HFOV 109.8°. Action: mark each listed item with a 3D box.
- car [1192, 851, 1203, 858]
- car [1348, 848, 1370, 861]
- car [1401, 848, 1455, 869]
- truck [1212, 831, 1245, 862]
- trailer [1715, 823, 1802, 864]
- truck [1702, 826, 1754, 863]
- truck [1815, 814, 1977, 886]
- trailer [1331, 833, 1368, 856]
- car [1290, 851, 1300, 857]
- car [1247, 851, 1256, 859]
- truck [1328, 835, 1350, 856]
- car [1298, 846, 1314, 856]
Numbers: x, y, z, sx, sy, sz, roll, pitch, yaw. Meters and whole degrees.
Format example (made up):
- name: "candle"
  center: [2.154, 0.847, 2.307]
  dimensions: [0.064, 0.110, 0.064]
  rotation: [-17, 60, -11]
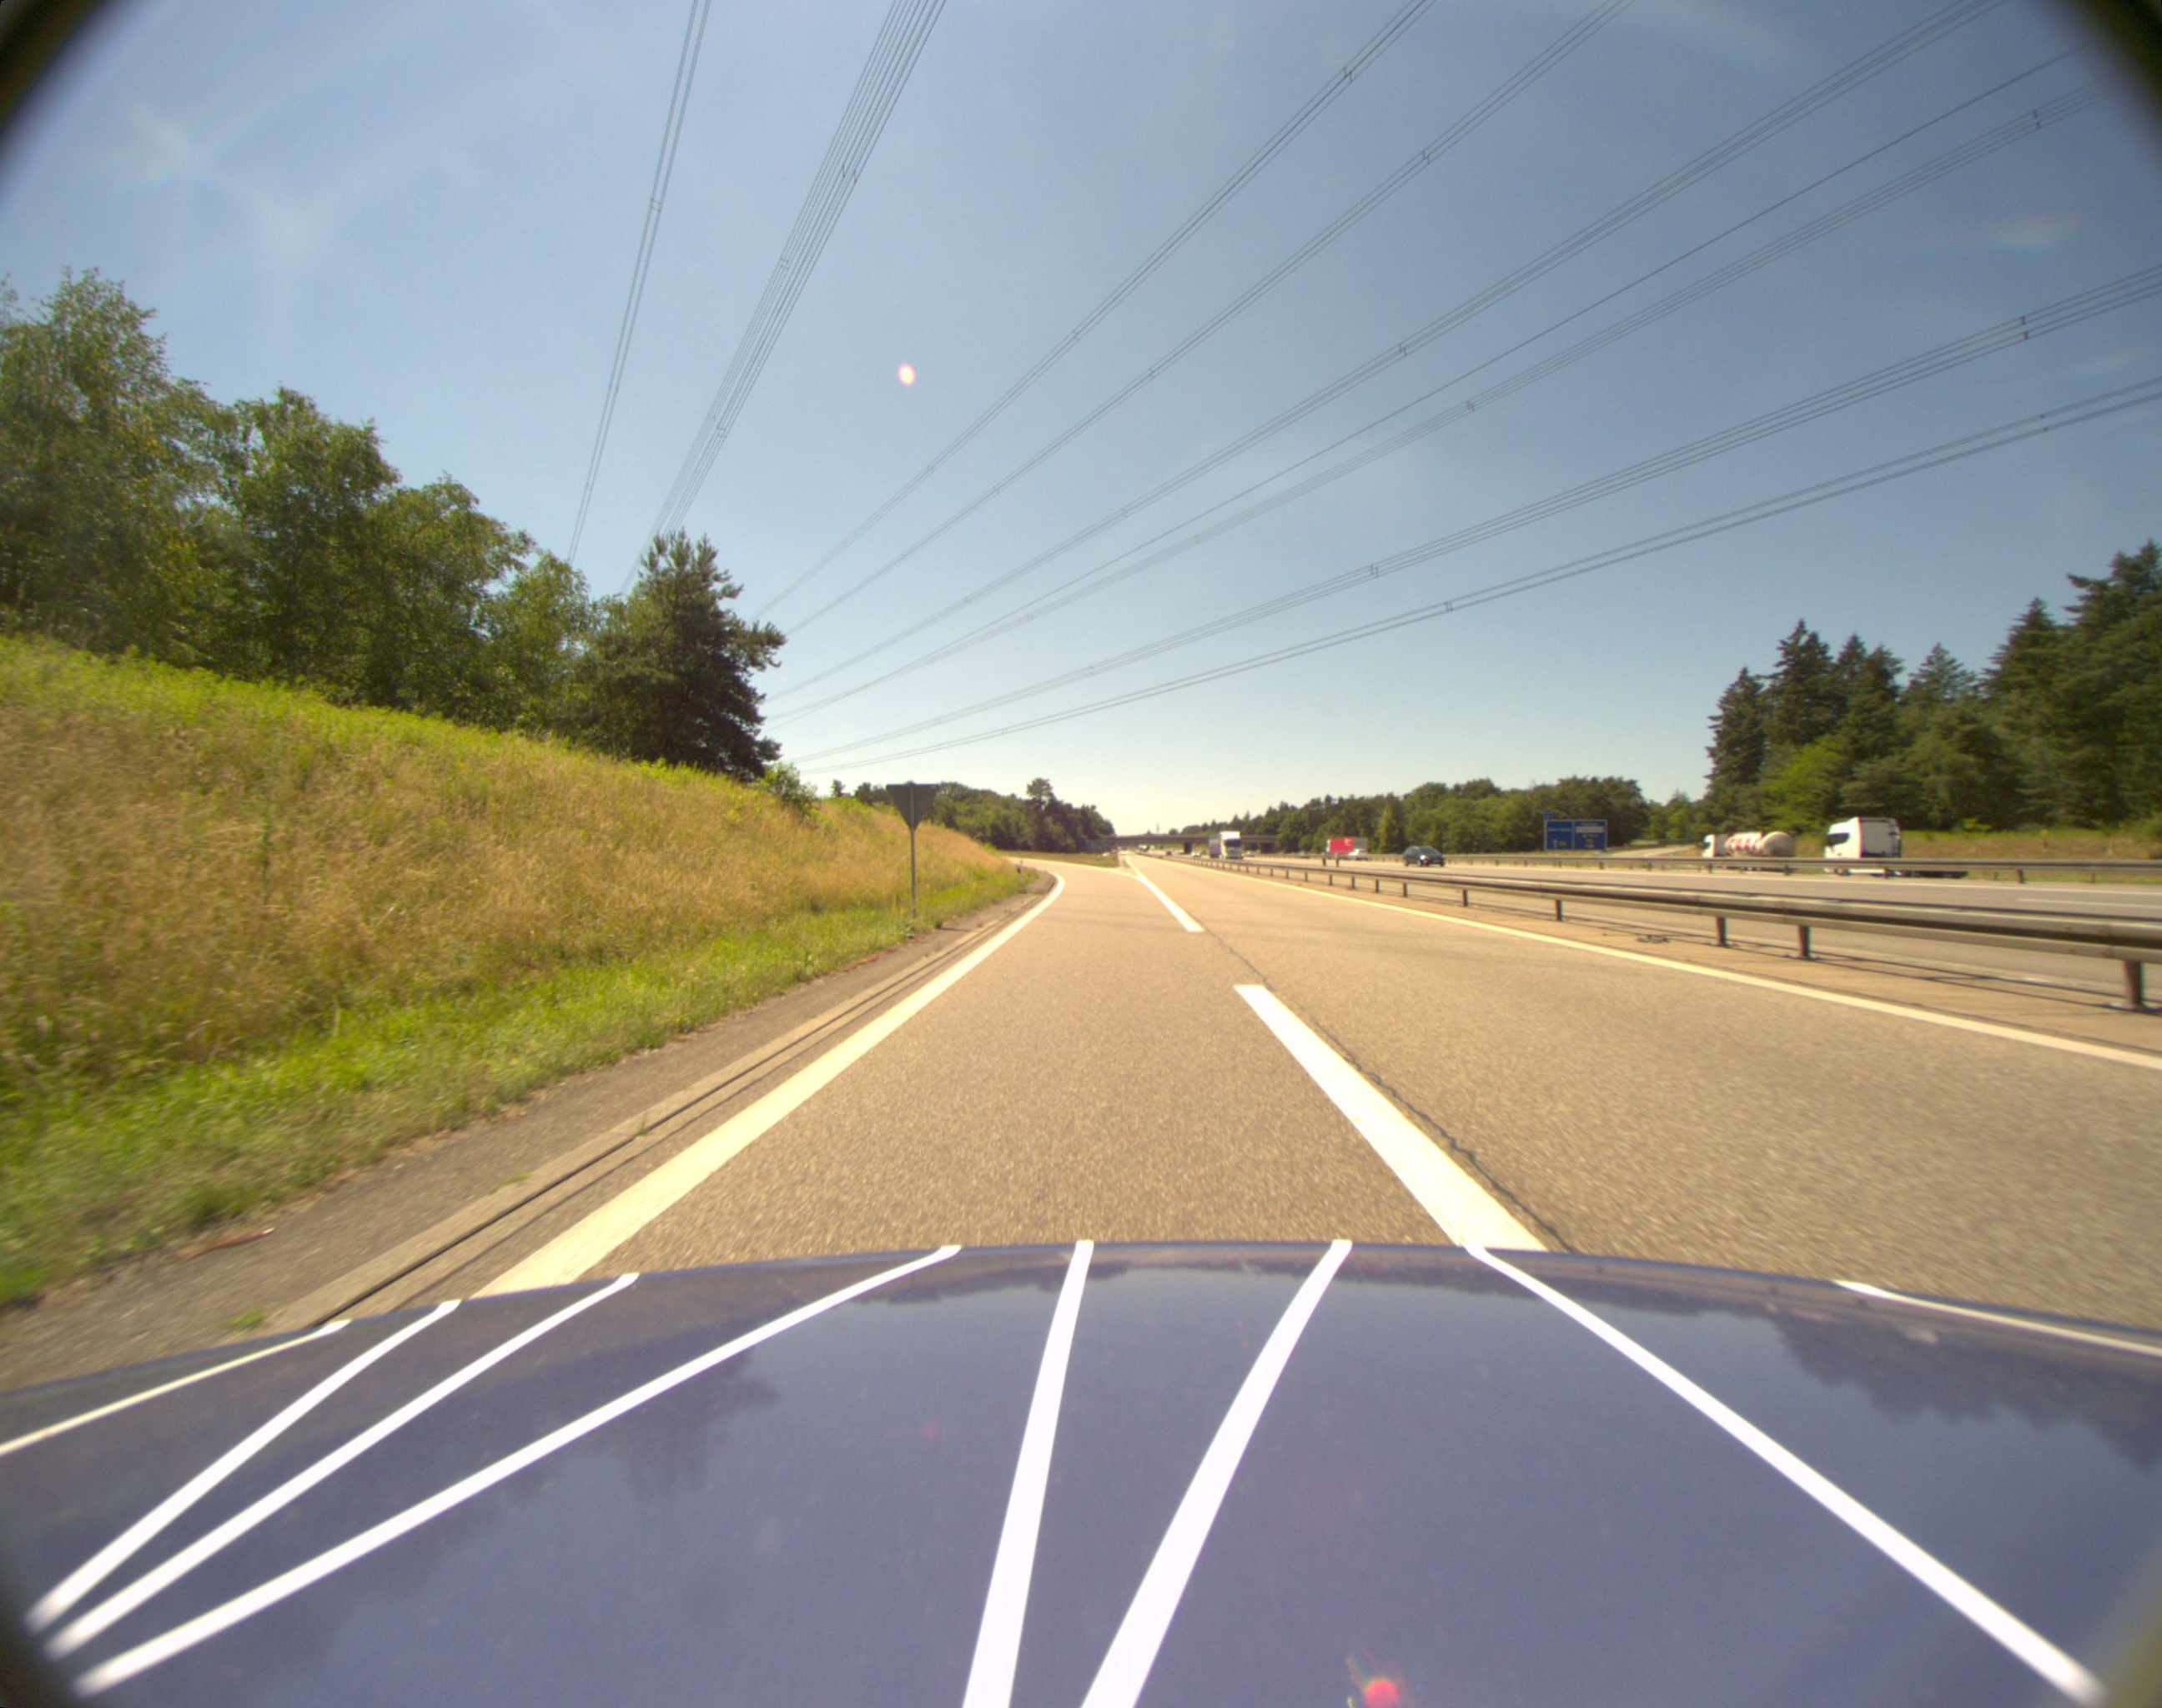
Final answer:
- name: "car"
  center: [29.727, 0.120, 194.111]
  dimensions: [1.998, 1.559, 4.000]
  rotation: [-1, 0, 0]
- name: "car"
  center: [41.912, 0.069, 114.576]
  dimensions: [1.776, 1.674, 4.824]
  rotation: [-1, 2, 3]
- name: "car"
  center: [25.404, 0.292, 55.765]
  dimensions: [1.998, 1.467, 4.242]
  rotation: [-1, 1, 1]
- name: "truck"
  center: [20.265, -1.036, 104.974]
  dimensions: [2.709, 4.034, 11.049]
  rotation: [-1, 0, 2]
- name: "trailer"
  center: [65.836, -0.953, 74.144]
  dimensions: [2.776, 3.775, 8.947]
  rotation: [-1, 0, 16]
- name: "truck"
  center: [67.415, -0.935, 79.291]
  dimensions: [2.771, 3.775, 4.005]
  rotation: [-1, 0, 18]
- name: "truck"
  center: [53.139, -0.369, 49.923]
  dimensions: [2.866, 4.321, 7.531]
  rotation: [-1, 2, 4]
- name: "trailer"
  center: [47.446, -1.540, 134.771]
  dimensions: [2.547, 3.775, 13.746]
  rotation: [-1, 0, 4]
- name: "car"
  center: [65.600, -0.036, 232.587]
  dimensions: [1.998, 1.641, 4.000]
  rotation: [-1, 0, 1]
- name: "car"
  center: [42.703, 0.230, 190.334]
  dimensions: [1.775, 1.674, 4.826]
  rotation: [-1, 2, 7]
- name: "truck"
  center: [47.982, -1.511, 141.510]
  dimensions: [2.547, 3.775, 5.670]
  rotation: [-1, 0, 5]
- name: "car"
  center: [44.034, -0.581, 148.746]
  dimensions: [1.919, 1.674, 4.824]
  rotation: [-1, 2, 3]
